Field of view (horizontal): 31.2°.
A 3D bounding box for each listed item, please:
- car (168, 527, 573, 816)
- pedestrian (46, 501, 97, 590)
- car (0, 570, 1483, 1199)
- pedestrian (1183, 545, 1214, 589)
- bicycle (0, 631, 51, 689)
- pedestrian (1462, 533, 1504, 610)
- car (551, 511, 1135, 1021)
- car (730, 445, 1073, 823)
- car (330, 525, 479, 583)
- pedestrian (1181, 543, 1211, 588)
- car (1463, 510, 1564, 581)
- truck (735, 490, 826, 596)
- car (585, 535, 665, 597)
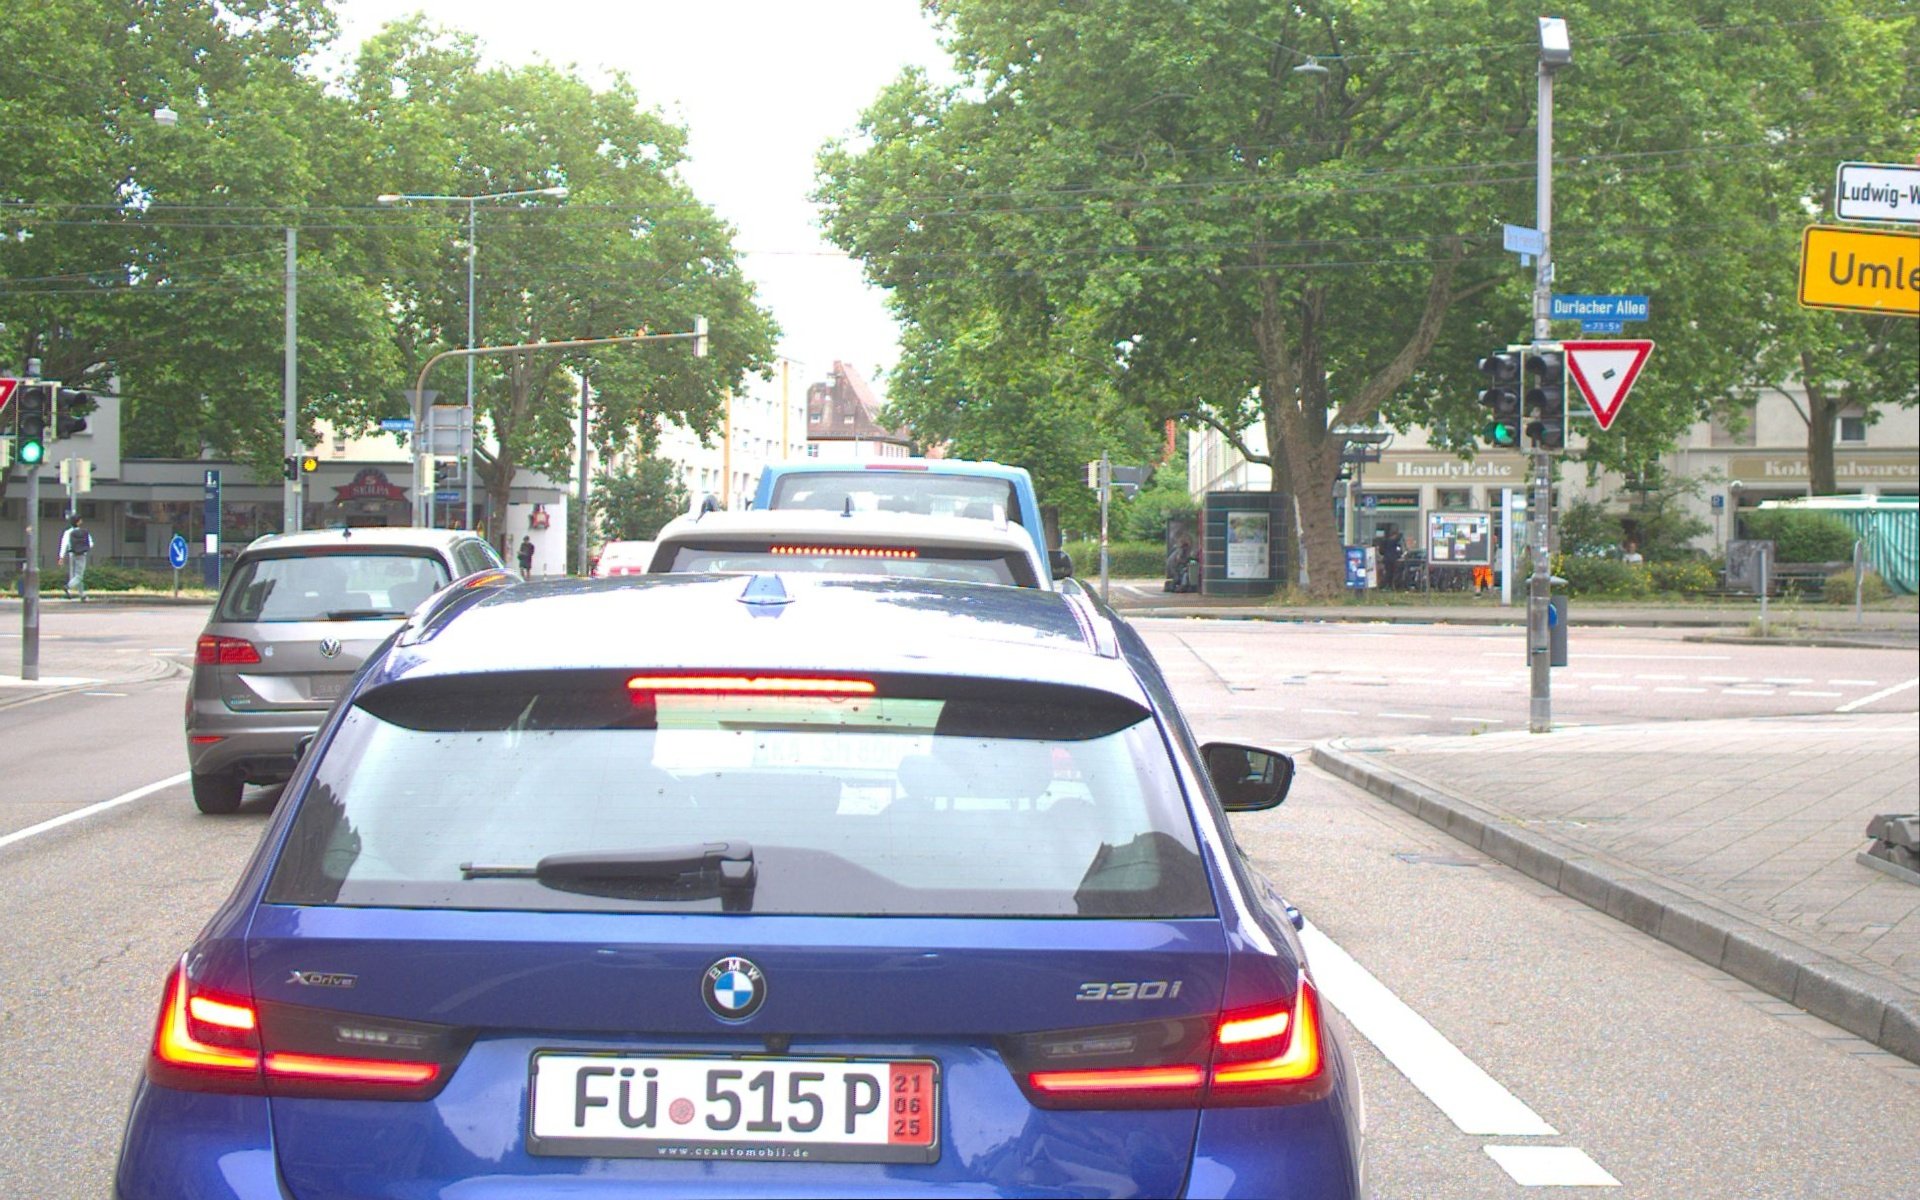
[{"bbox_3d":[-3.343,0.337,20.179,1.732,1.519,4.000,0,1,-1],"label":"car"},{"bbox_3d":[-17.701,-1.093,68.507,0.676,1.765,0.724,1,1,41],"label":"pedestrian"},{"bbox_3d":[-0.306,0.675,6.295,1.815,1.400,4.320,0,1,-1],"label":"car"},{"bbox_3d":[7.140,-0.988,103.085,0.853,1.310,0.763,0,1,0],"label":"pedestrian"},{"bbox_3d":[-9.914,0.509,33.409,1.886,0.443,1.029,6,2,-2],"label":"bicycle"},{"bbox_3d":[11.936,-0.656,78.478,0.784,1.737,0.925,0,1,-2],"label":"pedestrian"},{"bbox_3d":[-0.387,0.475,12.701,1.815,1.586,4.000,0,1,-1],"label":"car"},{"bbox_3d":[-0.335,0.138,20.230,1.815,1.998,4.000,0,1,-1],"label":"car"},{"bbox_3d":[-16.917,-1.394,104.796,3.987,1.700,2.000,0,1,-34],"label":"car"},{"bbox_3d":[7.141,-1.043,104.031,0.817,1.367,0.763,0,1,0],"label":"pedestrian"},{"bbox_3d":[17.314,-1.703,107.406,2.177,2.193,3.995,1,1,24],"label":"car"},{"bbox_3d":[-4.207,-1.365,81.069,2.074,2.400,5.463,0,1,-2],"label":"truck"},{"bbox_3d":[-8.070,-0.844,83.039,1.649,1.442,3.511,0,1,-1],"label":"car"}]
